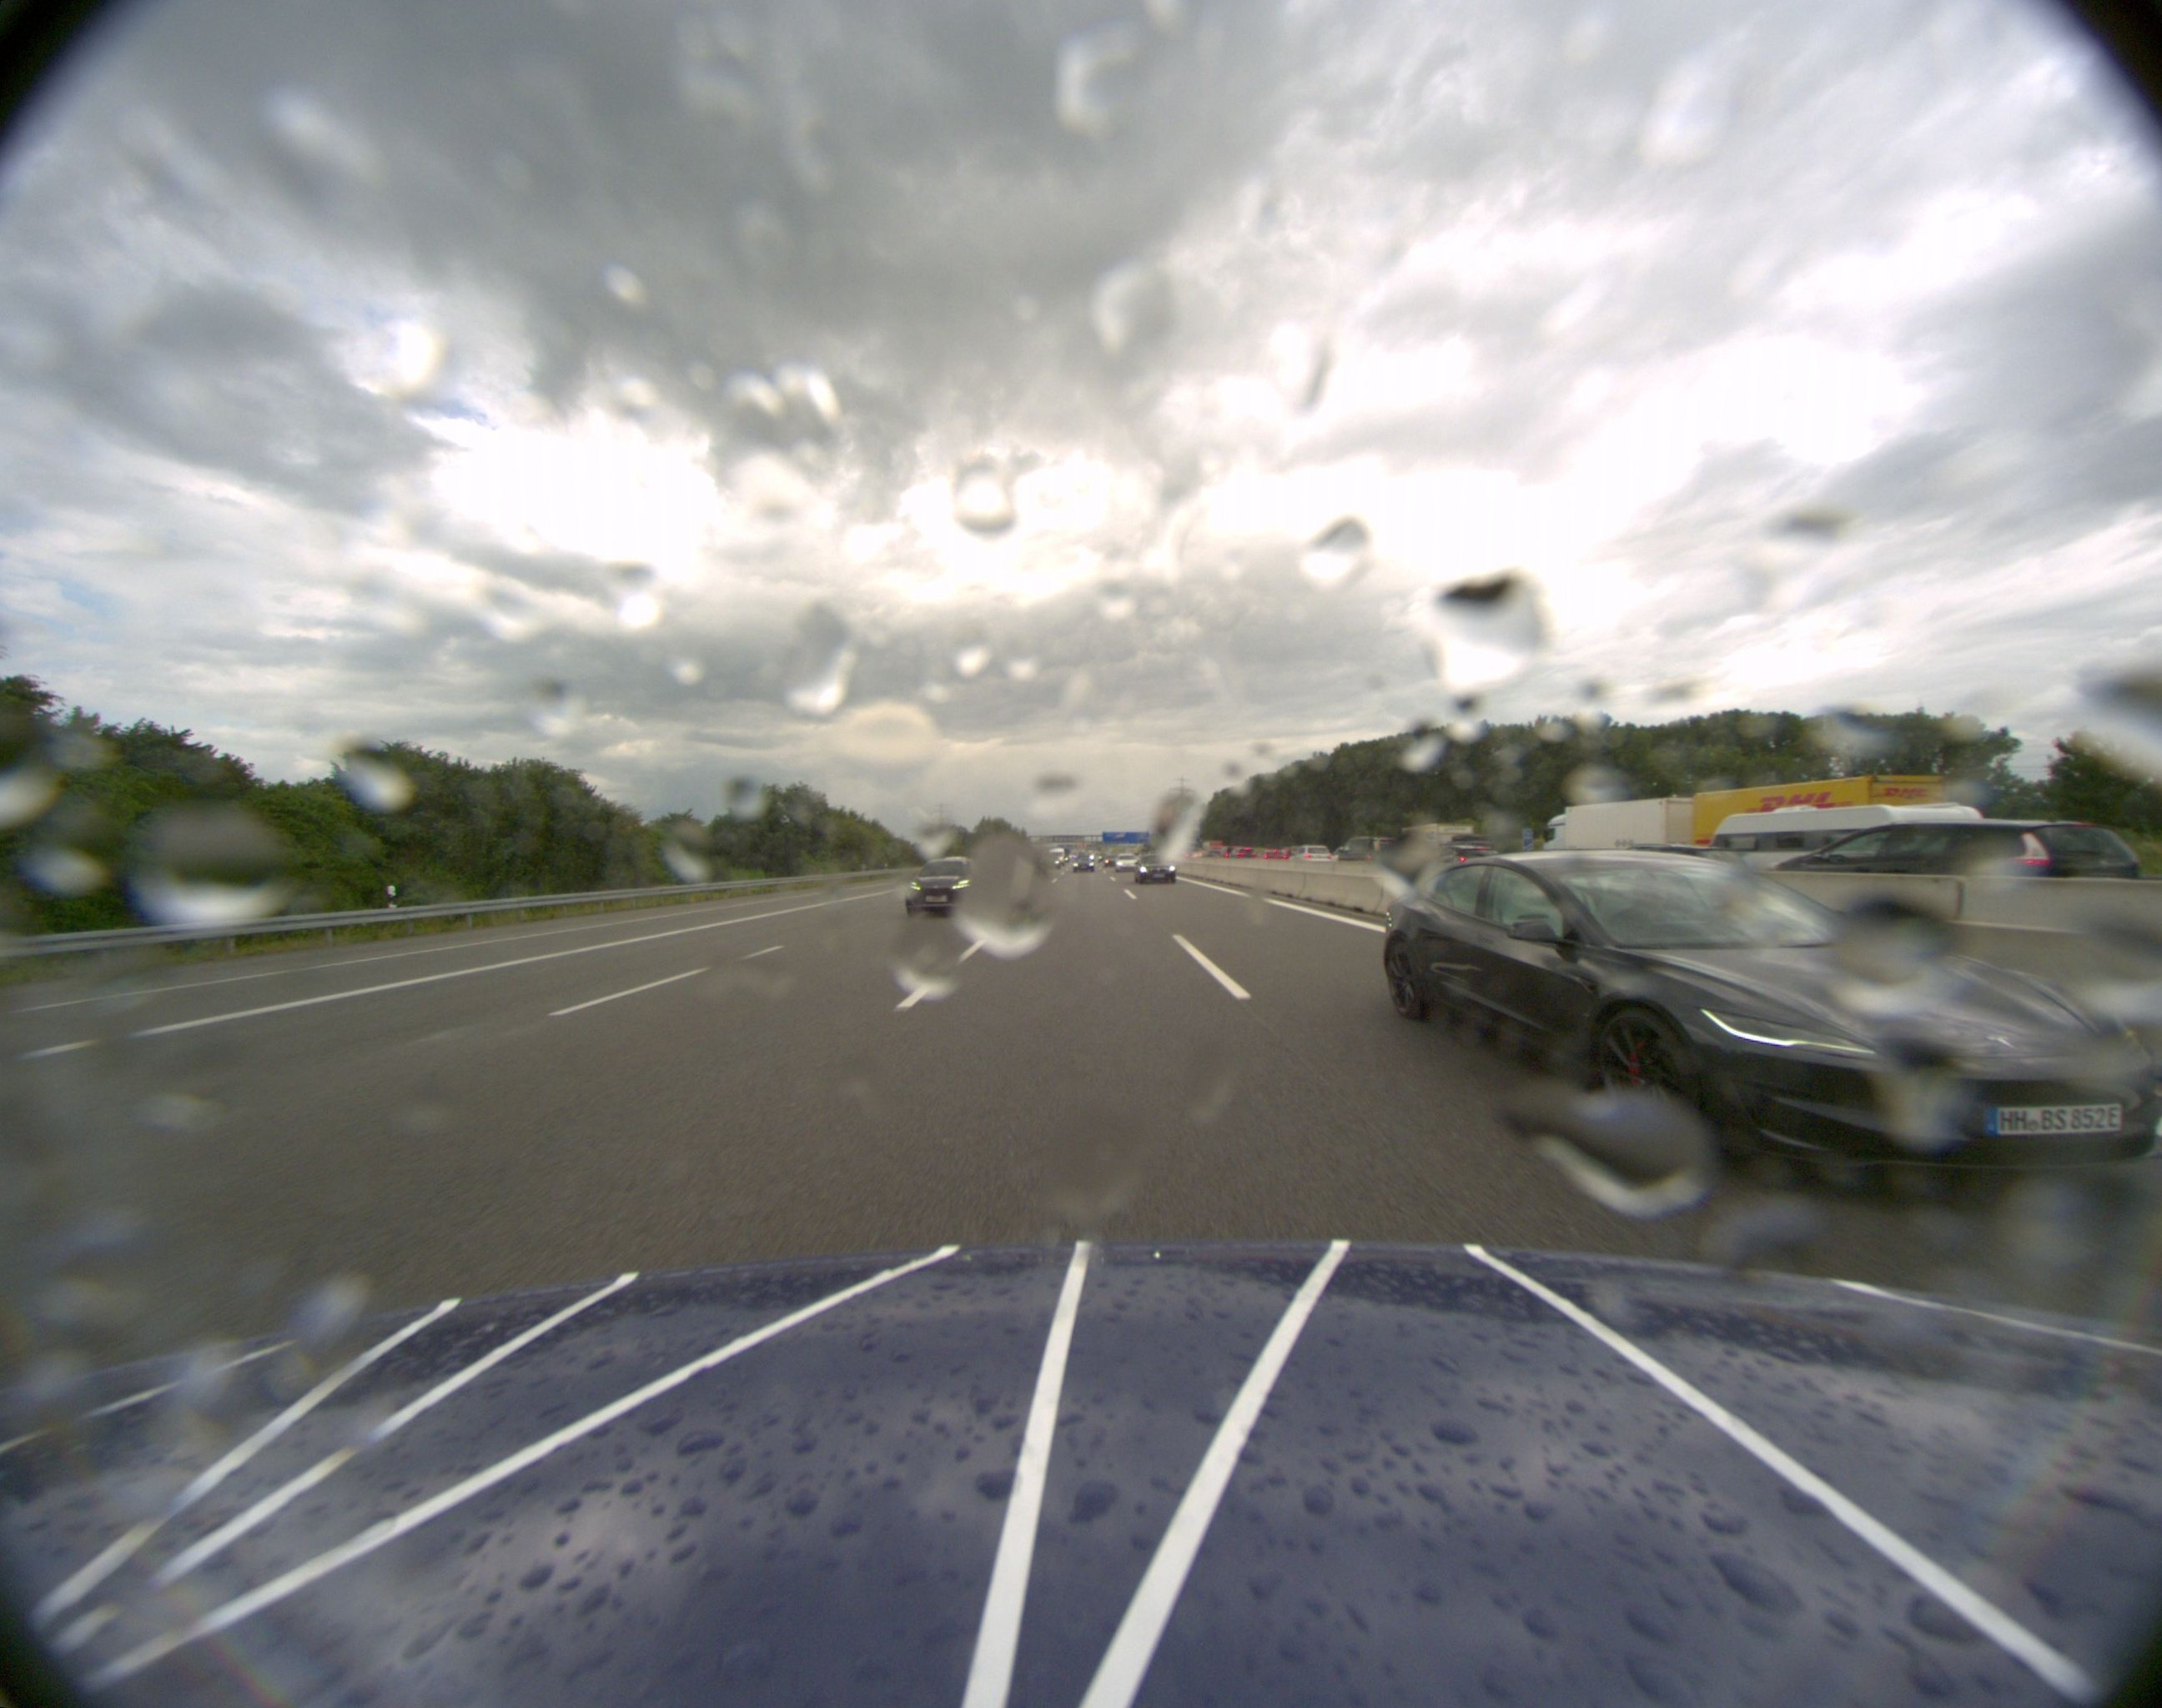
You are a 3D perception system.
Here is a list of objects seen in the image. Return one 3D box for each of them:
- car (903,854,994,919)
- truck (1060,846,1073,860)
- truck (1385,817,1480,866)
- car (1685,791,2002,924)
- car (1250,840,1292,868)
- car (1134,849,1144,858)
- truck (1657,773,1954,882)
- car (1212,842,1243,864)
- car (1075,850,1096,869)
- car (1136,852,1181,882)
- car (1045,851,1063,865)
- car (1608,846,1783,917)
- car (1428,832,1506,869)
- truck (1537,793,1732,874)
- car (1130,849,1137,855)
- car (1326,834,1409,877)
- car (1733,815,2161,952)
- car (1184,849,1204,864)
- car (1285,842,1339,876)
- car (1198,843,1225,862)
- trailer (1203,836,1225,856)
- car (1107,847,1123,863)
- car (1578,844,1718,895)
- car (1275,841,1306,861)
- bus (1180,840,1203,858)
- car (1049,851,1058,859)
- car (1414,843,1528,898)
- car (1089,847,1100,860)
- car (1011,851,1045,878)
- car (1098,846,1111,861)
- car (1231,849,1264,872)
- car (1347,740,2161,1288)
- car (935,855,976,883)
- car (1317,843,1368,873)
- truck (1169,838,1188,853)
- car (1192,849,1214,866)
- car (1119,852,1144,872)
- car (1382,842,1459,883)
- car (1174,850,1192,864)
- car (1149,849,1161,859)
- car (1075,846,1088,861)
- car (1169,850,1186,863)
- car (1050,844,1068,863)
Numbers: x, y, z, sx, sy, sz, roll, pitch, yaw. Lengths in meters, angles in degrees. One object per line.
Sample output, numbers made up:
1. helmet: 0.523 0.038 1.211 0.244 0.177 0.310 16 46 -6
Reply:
1. car: -3.653 0.837 21.730 1.785 1.603 4.597 -2 0 -1
2. truck: -2.825 -0.203 147.232 2.392 2.726 6.592 -2 0 -3
3. truck: 26.319 -0.880 57.455 2.917 3.271 9.201 -2 0 1
4. car: 21.750 0.065 22.350 2.667 3.258 6.561 -2 0 0
5. car: 14.397 0.002 57.845 1.998 2.002 4.686 -2 0 0
6. car: 14.461 -0.156 188.642 1.998 1.956 4.696 -2 0 0
7. truck: 28.052 -0.914 30.387 2.885 3.591 9.580 -2 0 1
8. car: 14.665 -0.112 76.314 1.998 2.002 5.418 -2 0 0
9. car: 0.404 0.460 66.839 1.711 1.562 4.346 -2 0 2
10. car: 3.796 0.613 37.849 1.922 1.407 4.000 -1 0 2
11. car: -2.971 0.454 83.953 1.945 1.482 4.774 -2 0 -2
12. car: 18.125 0.737 22.686 1.998 1.892 4.000 -2 0 1
13. car: 22.630 -0.203 44.786 1.998 2.002 5.097 -2 0 1
14. truck: 28.287 -0.958 39.739 2.885 3.591 10.311 -2 0 1
15. car: 14.665 -0.512 212.264 1.808 1.709 4.000 -2 0 0
16. car: 14.456 0.065 38.740 1.998 2.002 5.757 -2 0 0
17. car: 13.649 0.374 12.411 1.998 1.771 4.672 -2 0 1
18. car: 15.217 0.341 102.491 1.998 2.002 4.349 -2 0 0
19. car: 14.365 0.291 47.492 1.998 2.002 4.424 -2 0 0
20. car: 14.759 -0.158 86.218 1.998 2.002 5.418 -2 0 0
21. trailer: 26.454 -1.569 151.625 2.867 3.740 9.160 -1 0 0
22. car: 3.821 0.100 85.942 1.711 1.621 4.000 -2 0 2
23. car: 21.636 0.527 29.288 1.878 1.761 4.710 -2 0 0
24. car: 22.163 -0.336 80.553 1.998 2.002 4.686 -2 0 0
25. bus: 22.430 -0.951 155.381 2.694 3.365 13.997 -2 0 0
26. car: -6.931 0.319 190.073 1.999 2.002 4.354 -2 0 -1
27. car: 13.729 0.540 27.047 1.998 1.739 4.000 -2 0 1
28. car: 2.727 -0.105 151.618 2.145 2.340 5.448 -2 0 1
29. car: -3.417 0.658 49.477 1.711 1.621 4.457 -2 0 2
30. car: 4.098 -0.171 132.046 2.145 2.486 5.448 -2 0 2
31. car: 14.560 0.583 66.676 1.998 1.892 4.503 -2 0 1
32. car: 3.667 0.515 5.110 1.998 1.810 5.162 -2 0 1
33. car: -7.798 0.893 47.474 1.815 1.589 4.695 -2 0 -1
34. car: 18.543 0.264 54.114 1.998 2.002 4.813 -2 0 1
35. truck: 26.113 -2.206 203.879 3.157 3.723 13.297 -2 0 0
36. car: 15.413 0.454 96.400 1.998 2.002 4.971 -2 0 0
37. car: 4.121 0.614 62.711 1.822 1.565 4.000 -2 0 1
38. car: 18.199 0.428 41.003 1.998 2.002 4.813 -2 0 1
39. car: 14.850 0.451 111.090 1.998 2.002 4.696 -2 0 0
40. car: 14.674 0.001 151.147 1.998 1.956 4.696 -2 0 0
41. car: 0.077 -0.079 134.264 2.145 2.486 5.448 -2 0 1
42. car: 14.798 0.338 117.129 1.998 1.956 4.696 -2 0 0
43. car: -2.932 -0.062 103.758 2.145 2.486 5.447 -2 0 0
